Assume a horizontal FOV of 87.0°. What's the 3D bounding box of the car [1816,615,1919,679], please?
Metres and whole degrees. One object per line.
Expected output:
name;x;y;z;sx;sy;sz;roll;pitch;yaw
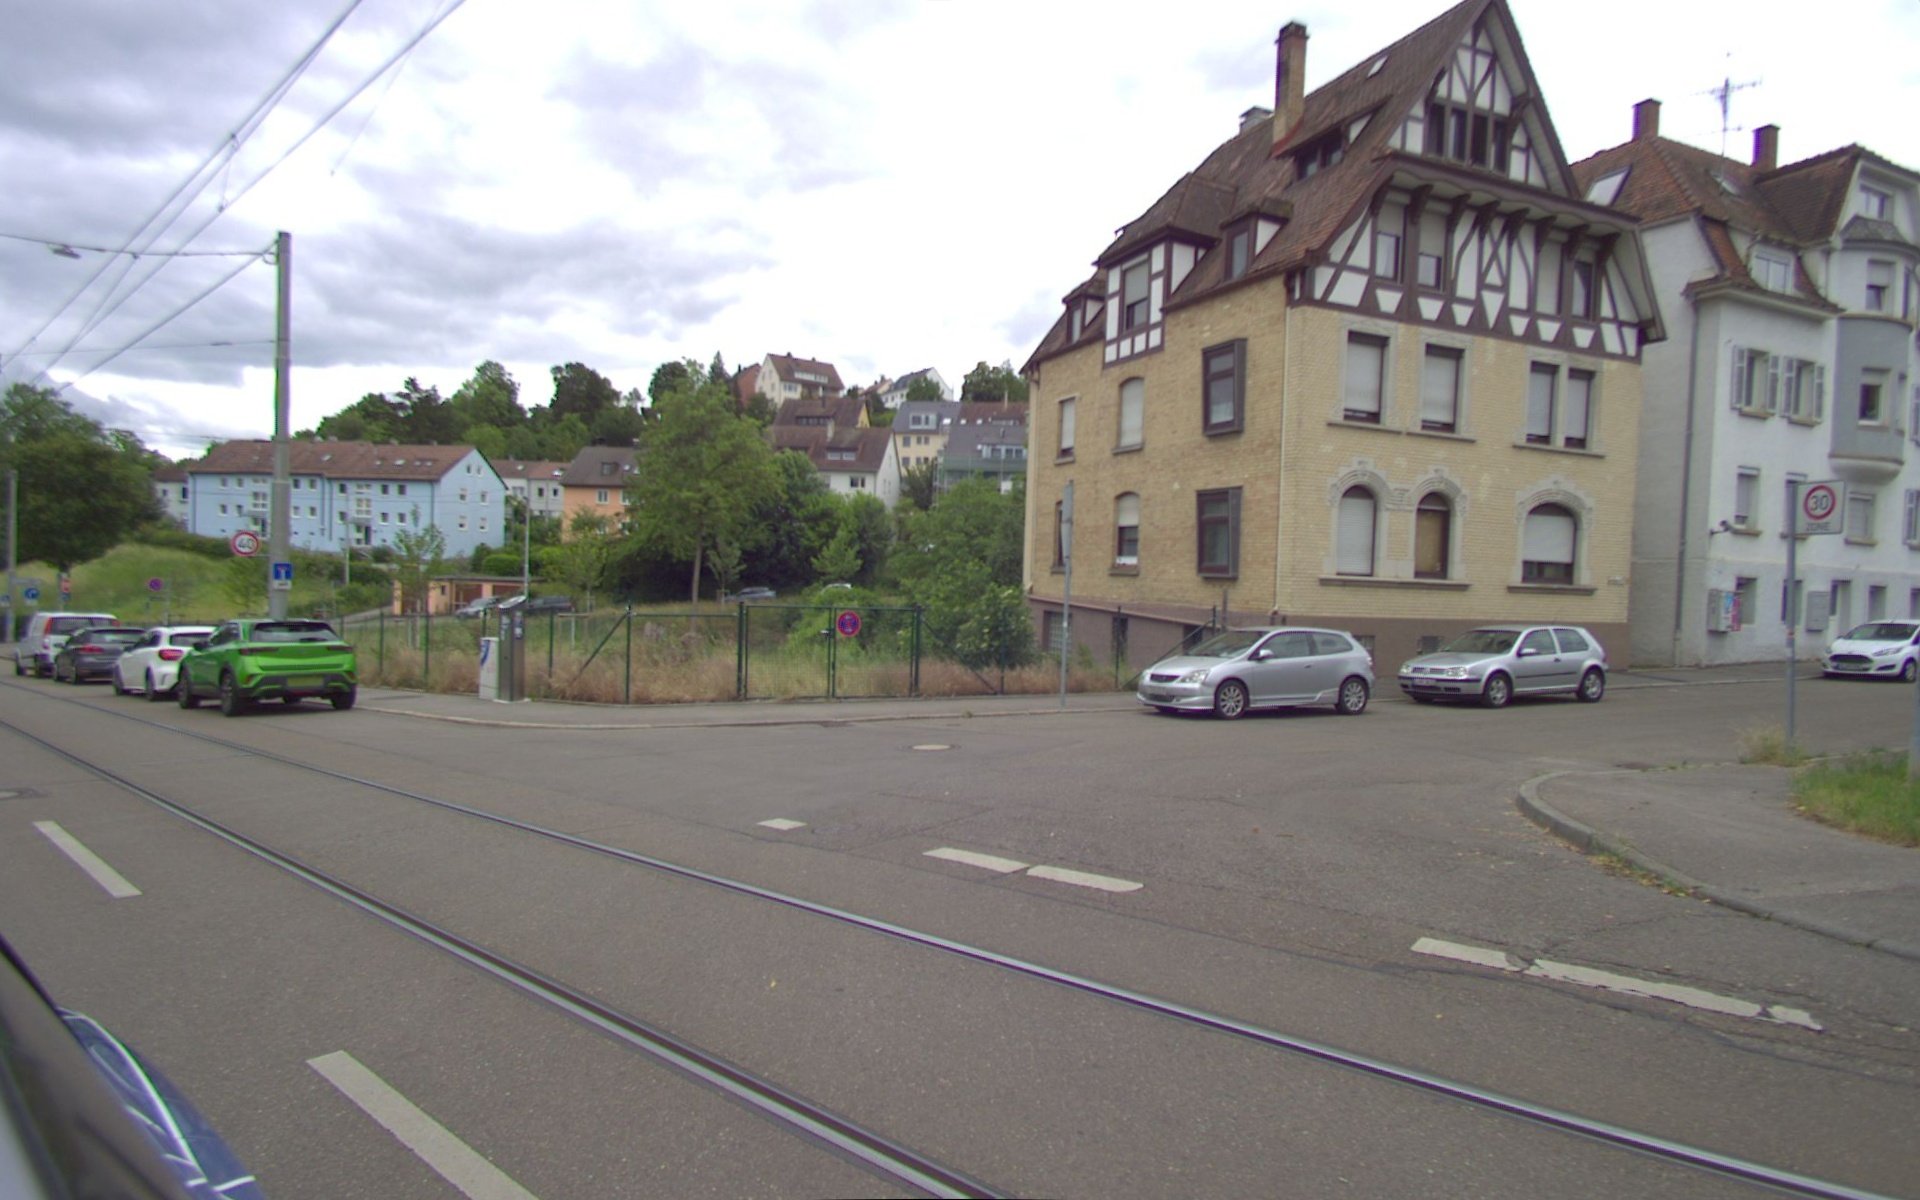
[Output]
car;22.465;1.085;24.016;3.791;1.413;1.701;1;-1;-22

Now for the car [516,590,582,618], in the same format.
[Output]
car;-28.646;0.271;70.659;3.935;1.918;2.004;0;-1;-10

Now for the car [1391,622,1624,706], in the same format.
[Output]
car;10.028;1.114;18.530;3.979;1.388;1.701;1;-1;-25

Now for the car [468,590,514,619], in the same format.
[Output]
car;-32.947;0.325;71.218;1.967;1.918;4.009;0;-1;-10

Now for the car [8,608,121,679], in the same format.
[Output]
car;-26.424;1.249;29.822;4.288;1.961;1.877;-1;-3;41

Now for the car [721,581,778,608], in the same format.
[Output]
car;-15.237;-0.385;73.383;3.935;1.918;2.004;0;-1;-10

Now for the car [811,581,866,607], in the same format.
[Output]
car;-9.010;-0.434;74.798;3.935;1.918;2.004;0;-1;-10

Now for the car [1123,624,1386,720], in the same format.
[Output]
car;4.757;1.089;16.331;3.944;1.388;1.701;1;-1;-25

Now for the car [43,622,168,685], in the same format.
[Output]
car;-22.228;1.349;26.291;3.946;1.505;1.832;-1;-3;41

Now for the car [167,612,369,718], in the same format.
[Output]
car;-11.571;1.000;16.829;3.946;1.552;1.832;-2;-1;41

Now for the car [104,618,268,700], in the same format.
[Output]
car;-15.800;1.142;20.602;3.946;1.505;1.832;-1;-3;41
